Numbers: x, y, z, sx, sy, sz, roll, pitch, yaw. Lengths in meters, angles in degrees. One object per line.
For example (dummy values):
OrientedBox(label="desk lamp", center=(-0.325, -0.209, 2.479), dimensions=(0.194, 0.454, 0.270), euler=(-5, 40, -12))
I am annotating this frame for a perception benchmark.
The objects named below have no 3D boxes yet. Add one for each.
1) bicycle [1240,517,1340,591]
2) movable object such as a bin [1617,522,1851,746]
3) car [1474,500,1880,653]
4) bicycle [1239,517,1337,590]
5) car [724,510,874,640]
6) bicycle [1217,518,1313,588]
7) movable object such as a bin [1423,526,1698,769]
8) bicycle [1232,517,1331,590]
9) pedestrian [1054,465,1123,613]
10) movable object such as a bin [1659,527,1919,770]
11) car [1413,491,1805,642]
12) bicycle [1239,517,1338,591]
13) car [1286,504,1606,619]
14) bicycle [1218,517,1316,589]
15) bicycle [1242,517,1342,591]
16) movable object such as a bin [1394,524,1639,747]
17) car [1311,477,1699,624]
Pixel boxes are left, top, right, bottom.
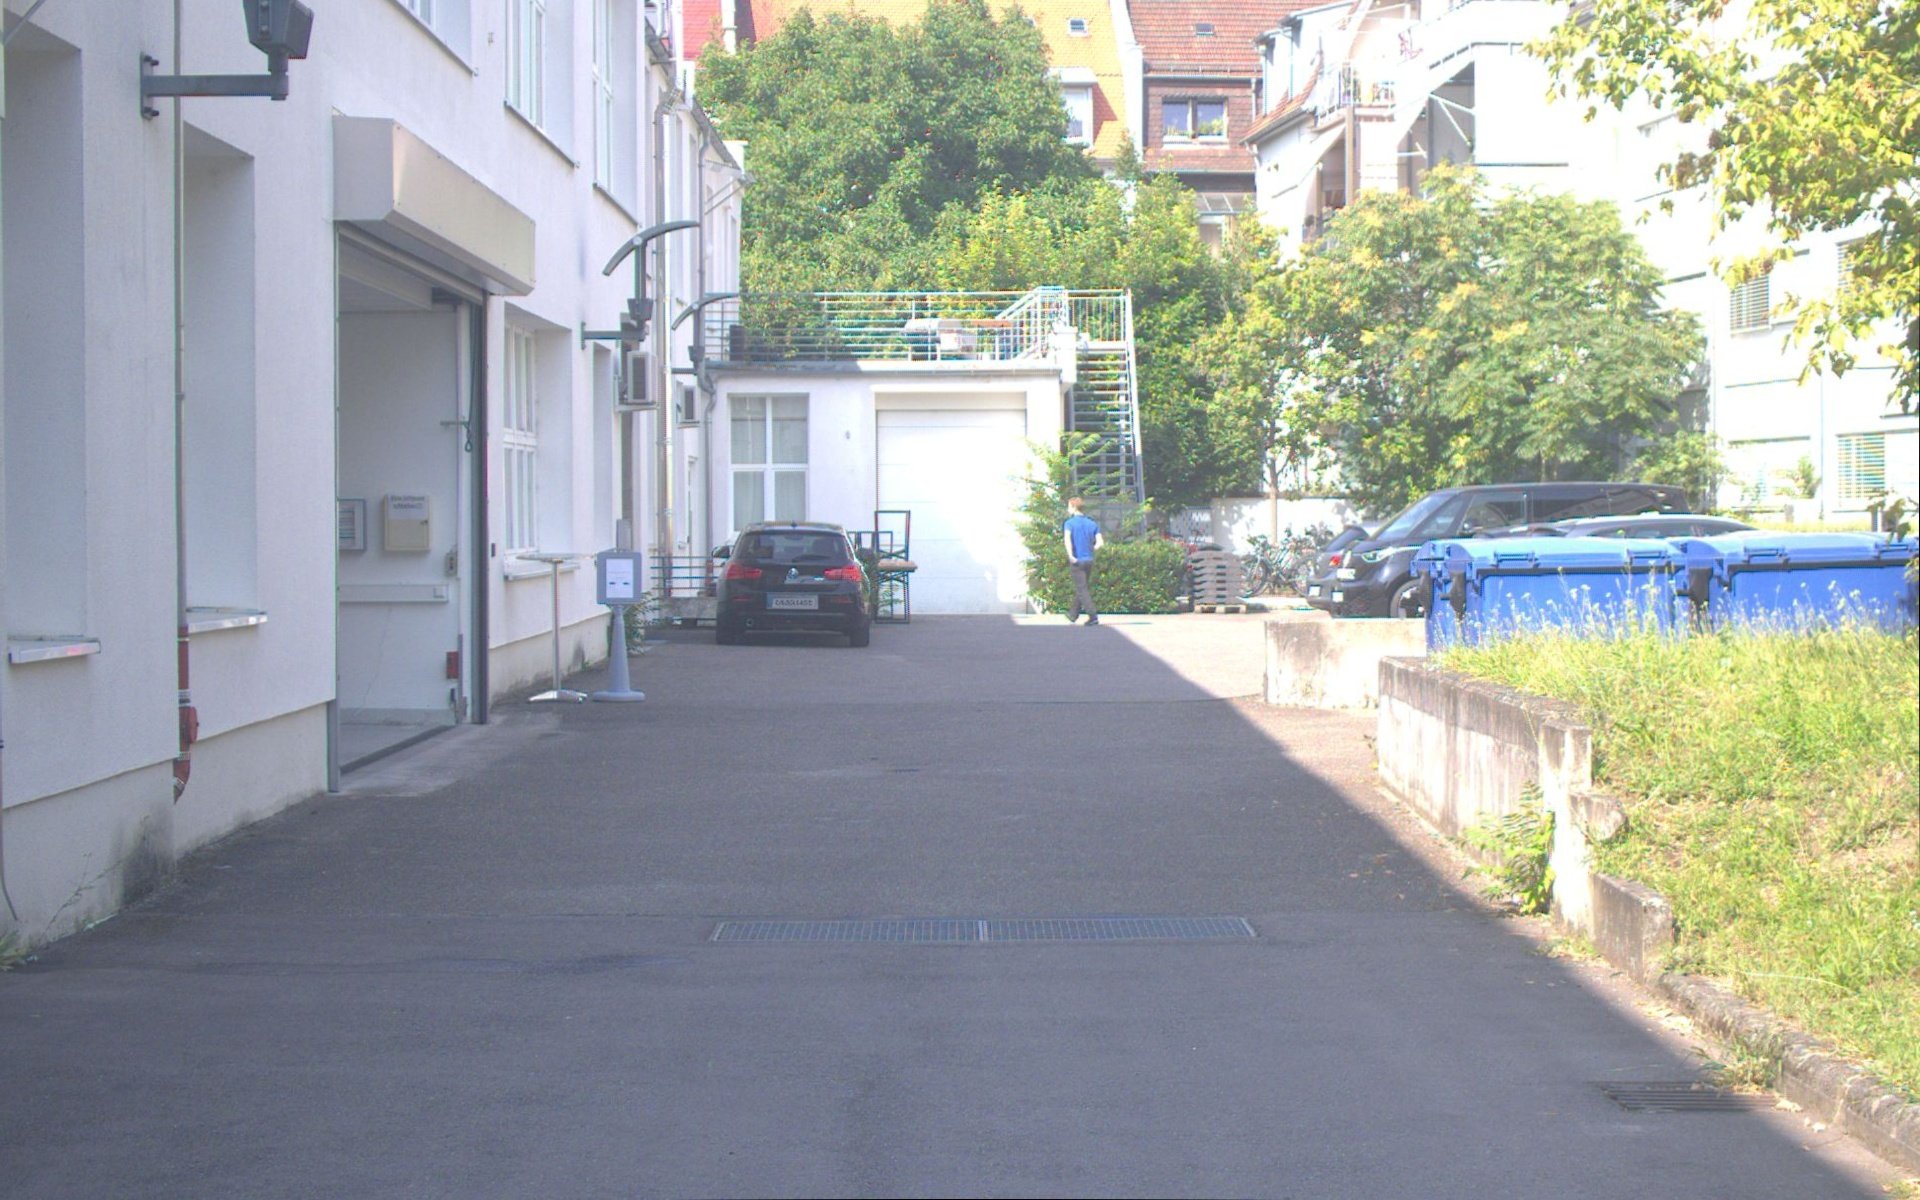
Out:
OrientedBox(label="bicycle", center=(5.501, -0.770, 57.342), dimensions=(1.623, 1.210, 0.327), euler=(-1, 1, 2))
OrientedBox(label="movable object such as a bin", center=(4.740, 0.191, 21.153), dimensions=(1.235, 1.336, 1.117), euler=(0, 1, 4))
OrientedBox(label="car", center=(7.615, -0.259, 36.729), dimensions=(3.861, 1.583, 1.880), euler=(0, 1, -5))
OrientedBox(label="bicycle", center=(5.574, -0.788, 58.407), dimensions=(1.624, 1.210, 0.327), euler=(-1, 1, 10))
OrientedBox(label="car", center=(-1.867, -0.319, 40.686), dimensions=(1.688, 1.454, 3.923), euler=(0, 1, -2))
OrientedBox(label="bicycle", center=(5.388, -0.829, 60.687), dimensions=(1.623, 1.210, 0.424), euler=(-1, 1, -4))
OrientedBox(label="movable object such as a bin", center=(3.376, 0.252, 19.453), dimensions=(1.309, 1.336, 1.100), euler=(0, 1, -3))
OrientedBox(label="bicycle", center=(5.496, -0.795, 58.772), dimensions=(1.624, 1.210, 0.327), euler=(-1, 1, 13))
OrientedBox(label="pedestrian", center=(1.756, -0.839, 47.123), dimensions=(0.914, 2.007, 0.935), euler=(0, 1, 0))
OrientedBox(label="movable object such as a bin", center=(4.708, 0.256, 19.436), dimensions=(1.226, 1.336, 1.077), euler=(0, 1, -4))
OrientedBox(label="car", center=(7.421, -0.389, 39.549), dimensions=(4.116, 1.686, 1.771), euler=(0, 1, -2))
OrientedBox(label="bicycle", center=(5.538, -0.780, 57.957), dimensions=(1.623, 1.210, 0.327), euler=(-1, 1, 2))
OrientedBox(label="car", center=(6.569, -0.525, 46.644), dimensions=(3.931, 1.477, 1.775), euler=(-1, 1, -9))
OrientedBox(label="bicycle", center=(5.308, -0.807, 59.451), dimensions=(1.623, 1.210, 0.424), euler=(-1, 1, 0))
OrientedBox(label="bicycle", center=(5.568, -0.775, 57.663), dimensions=(1.623, 1.210, 0.327), euler=(-1, 1, 2))
OrientedBox(label="movable object such as a bin", center=(3.414, 0.202, 21.205), dimensions=(1.300, 1.336, 1.195), euler=(0, 1, -1))
OrientedBox(label="car", center=(6.902, -0.632, 43.753), dimensions=(4.499, 1.788, 1.883), euler=(-1, 1, -9))
